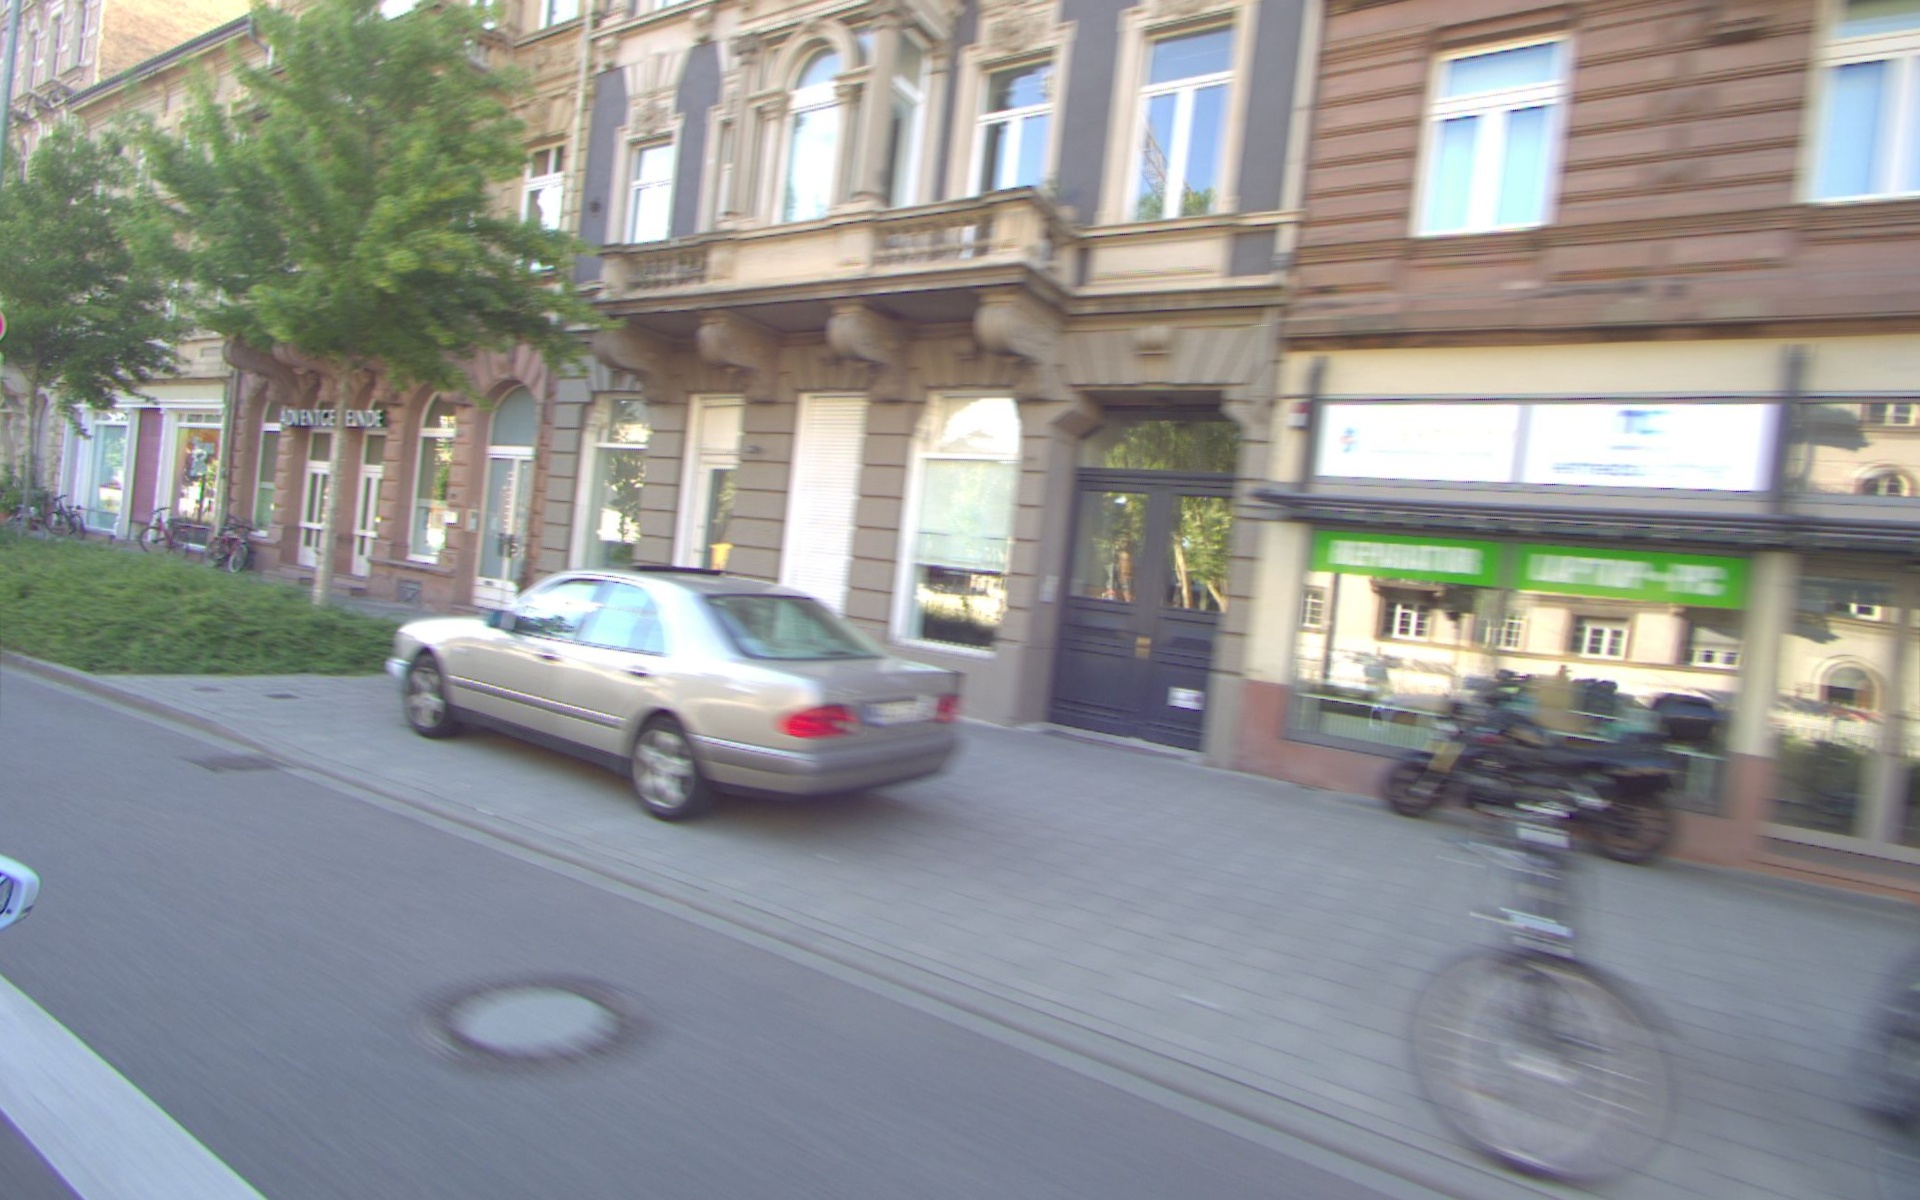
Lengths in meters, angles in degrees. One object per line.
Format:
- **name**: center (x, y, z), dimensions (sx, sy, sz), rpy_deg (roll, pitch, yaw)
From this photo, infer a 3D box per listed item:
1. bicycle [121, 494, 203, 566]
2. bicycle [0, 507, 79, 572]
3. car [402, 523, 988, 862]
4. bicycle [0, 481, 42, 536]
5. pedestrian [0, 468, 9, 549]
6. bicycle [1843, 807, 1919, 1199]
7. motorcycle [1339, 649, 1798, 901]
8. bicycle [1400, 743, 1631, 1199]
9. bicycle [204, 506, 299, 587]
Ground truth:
- **bicycle**: center (-18.474, -1.632, 23.274), dimensions (2.313, 1.420, 0.661), rpy_deg (8, 1, 32)
- **bicycle**: center (-19.389, -1.297, 20.698), dimensions (2.724, 1.098, 1.082), rpy_deg (7, 0, 32)
- **car**: center (-2.038, 0.434, 7.133), dimensions (4.144, 1.506, 1.636), rpy_deg (8, 3, 35)
- **bicycle**: center (-27.767, -2.726, 29.422), dimensions (2.313, 1.420, 0.661), rpy_deg (8, 1, 32)
- **pedestrian**: center (-18.061, -1.727, 18.485), dimensions (0.628, 1.478, 0.626), rpy_deg (7, 1, 32)
- **bicycle**: center (3.302, 1.346, 3.116), dimensions (0.481, 1.062, 1.690), rpy_deg (7, 3, 32)
- **motorcycle**: center (4.598, 1.241, 7.890), dimensions (2.805, 1.326, 0.795), rpy_deg (8, 3, 32)
- **bicycle**: center (2.056, 1.174, 3.651), dimensions (0.481, 1.062, 1.690), rpy_deg (7, 3, 32)
- **bicycle**: center (-14.782, -1.122, 20.956), dimensions (2.313, 1.420, 0.661), rpy_deg (8, 1, 32)
